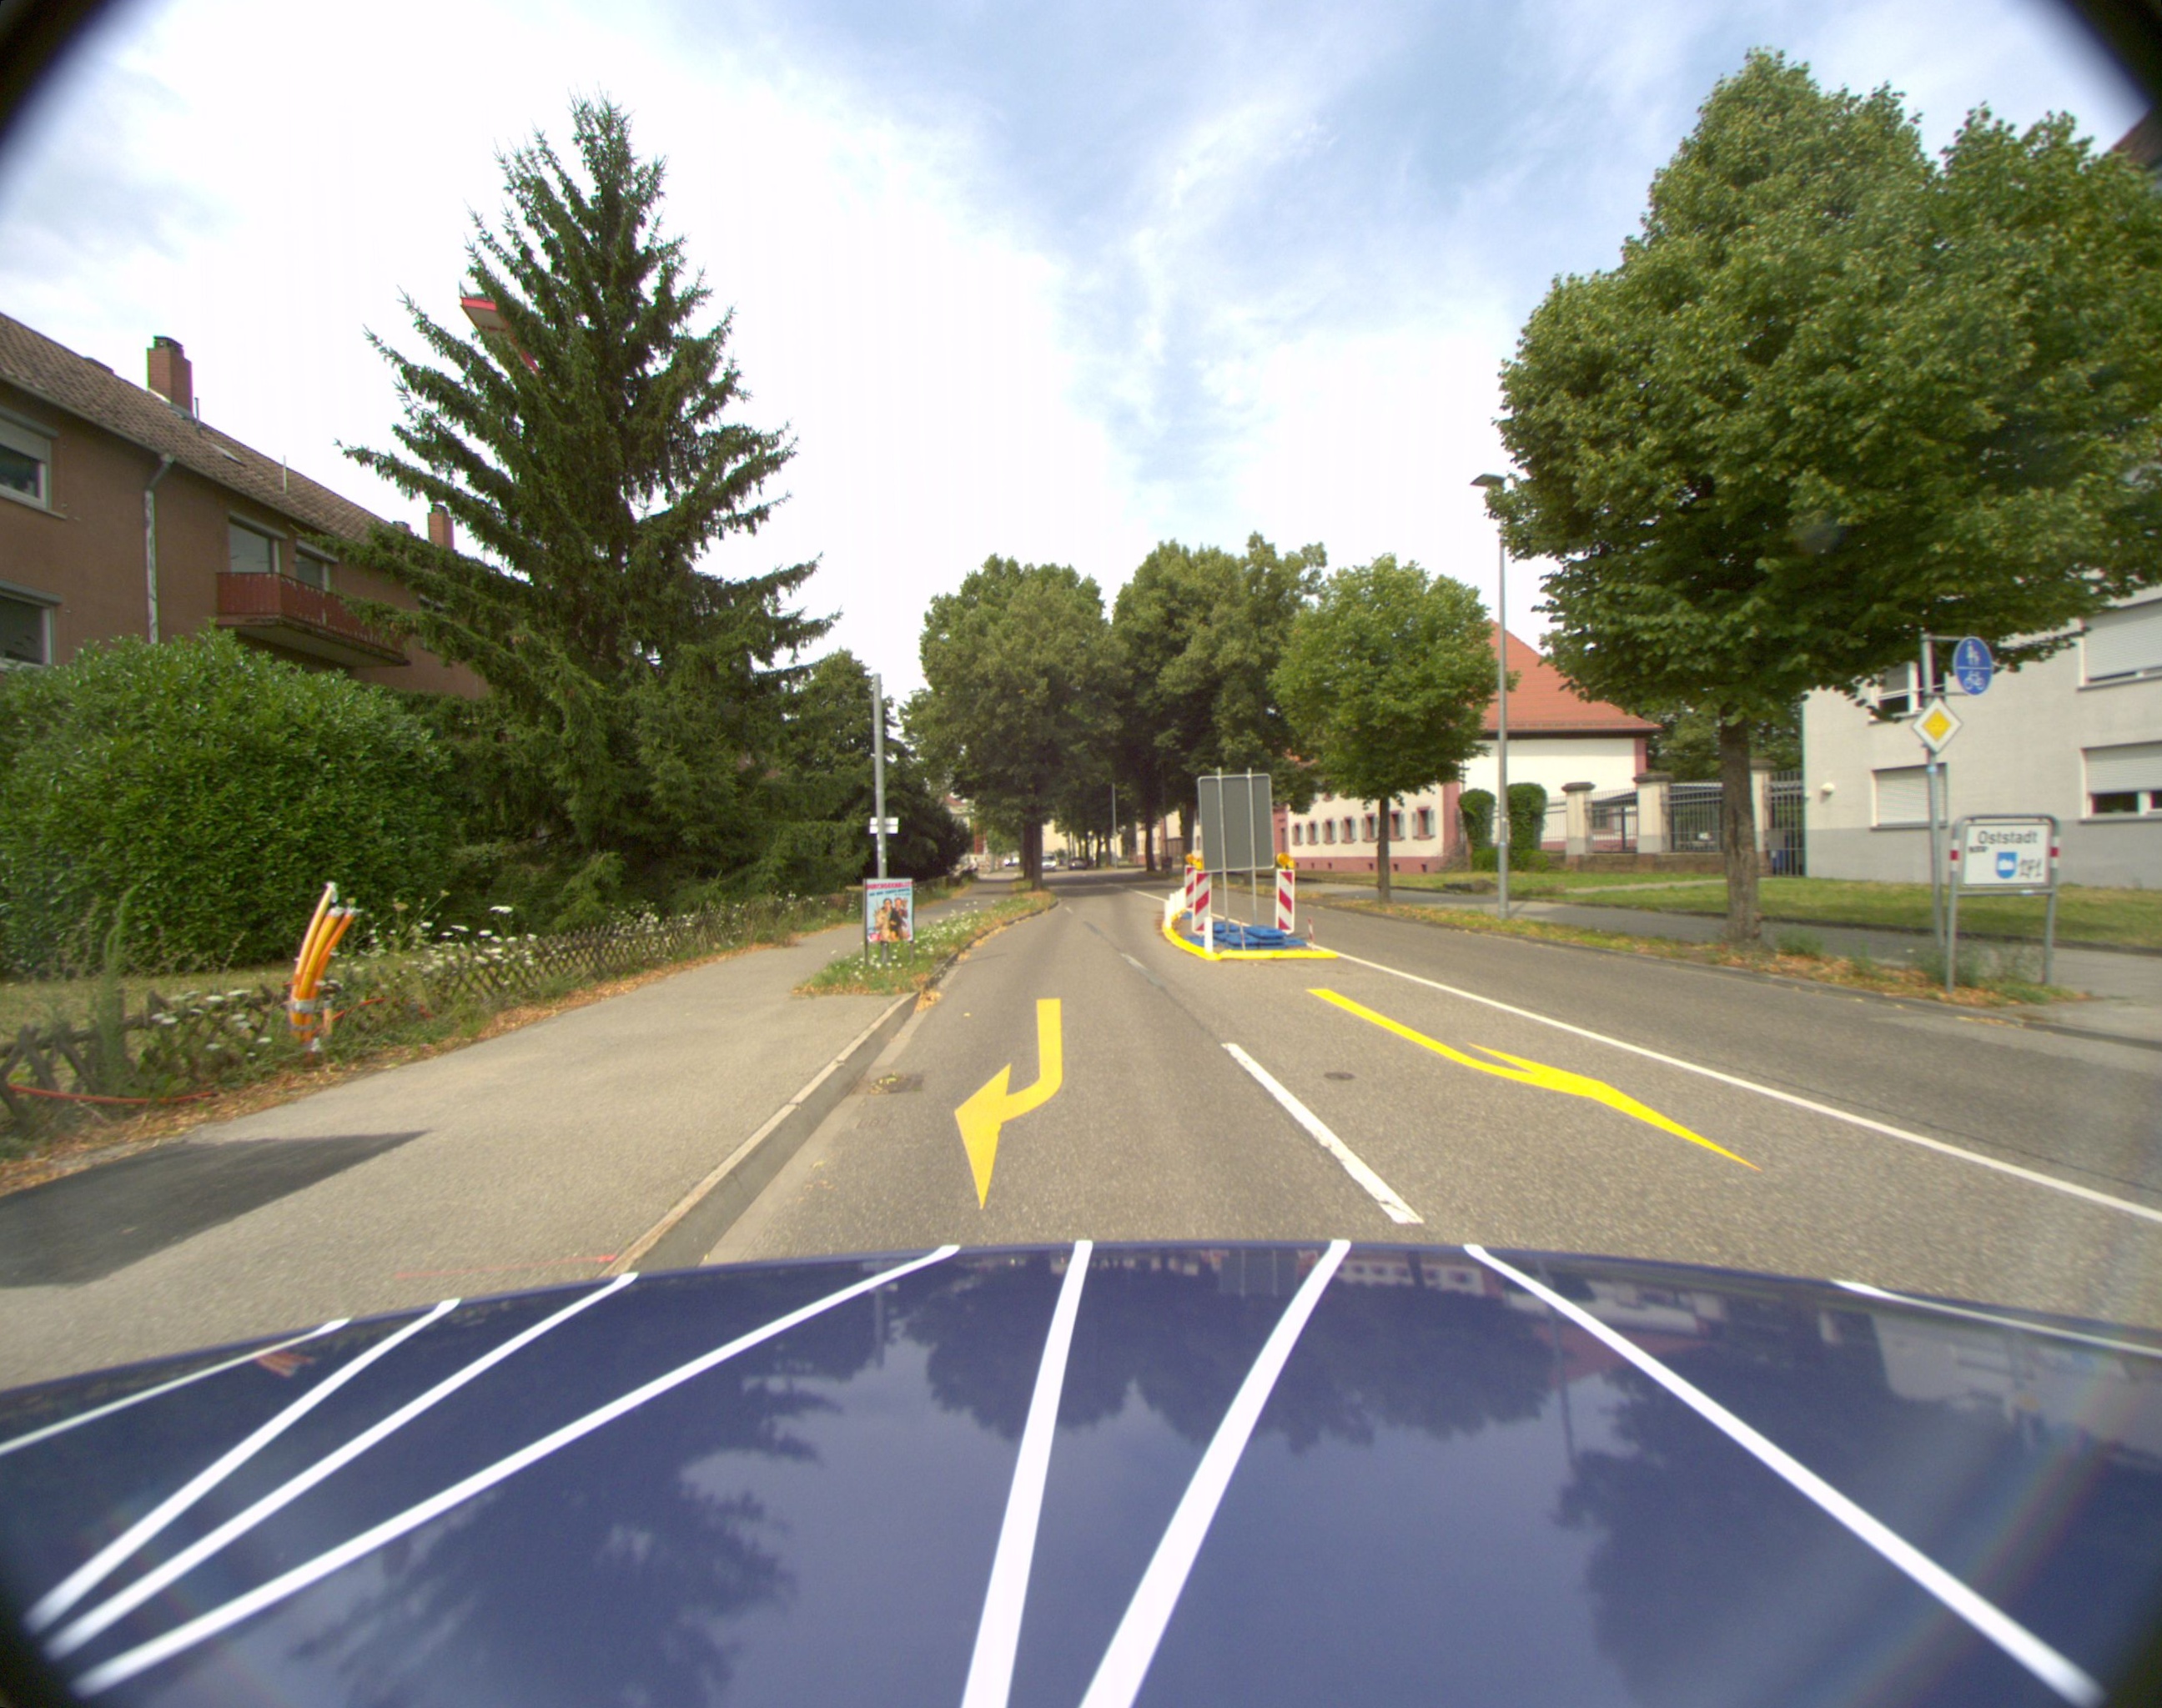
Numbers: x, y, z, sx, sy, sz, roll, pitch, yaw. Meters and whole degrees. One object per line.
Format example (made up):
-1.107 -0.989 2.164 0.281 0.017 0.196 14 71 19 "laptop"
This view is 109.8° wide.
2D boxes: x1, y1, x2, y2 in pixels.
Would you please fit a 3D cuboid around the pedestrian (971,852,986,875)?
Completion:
-7.992 0.725 59.153 0.883 1.803 0.889 0 0 14 "pedestrian"

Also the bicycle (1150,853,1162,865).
7.153 0.490 72.636 0.725 1.089 2.224 -5 0 -5 "bicycle"

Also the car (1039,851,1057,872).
-3.171 0.724 72.933 1.677 1.710 4.388 0 -4 -2 "car"

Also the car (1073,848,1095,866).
0.304 0.318 77.034 2.010 1.433 4.388 0 -4 -2 "car"

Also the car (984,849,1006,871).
-8.156 0.600 71.900 2.000 2.002 3.997 1 0 -8 "car"
